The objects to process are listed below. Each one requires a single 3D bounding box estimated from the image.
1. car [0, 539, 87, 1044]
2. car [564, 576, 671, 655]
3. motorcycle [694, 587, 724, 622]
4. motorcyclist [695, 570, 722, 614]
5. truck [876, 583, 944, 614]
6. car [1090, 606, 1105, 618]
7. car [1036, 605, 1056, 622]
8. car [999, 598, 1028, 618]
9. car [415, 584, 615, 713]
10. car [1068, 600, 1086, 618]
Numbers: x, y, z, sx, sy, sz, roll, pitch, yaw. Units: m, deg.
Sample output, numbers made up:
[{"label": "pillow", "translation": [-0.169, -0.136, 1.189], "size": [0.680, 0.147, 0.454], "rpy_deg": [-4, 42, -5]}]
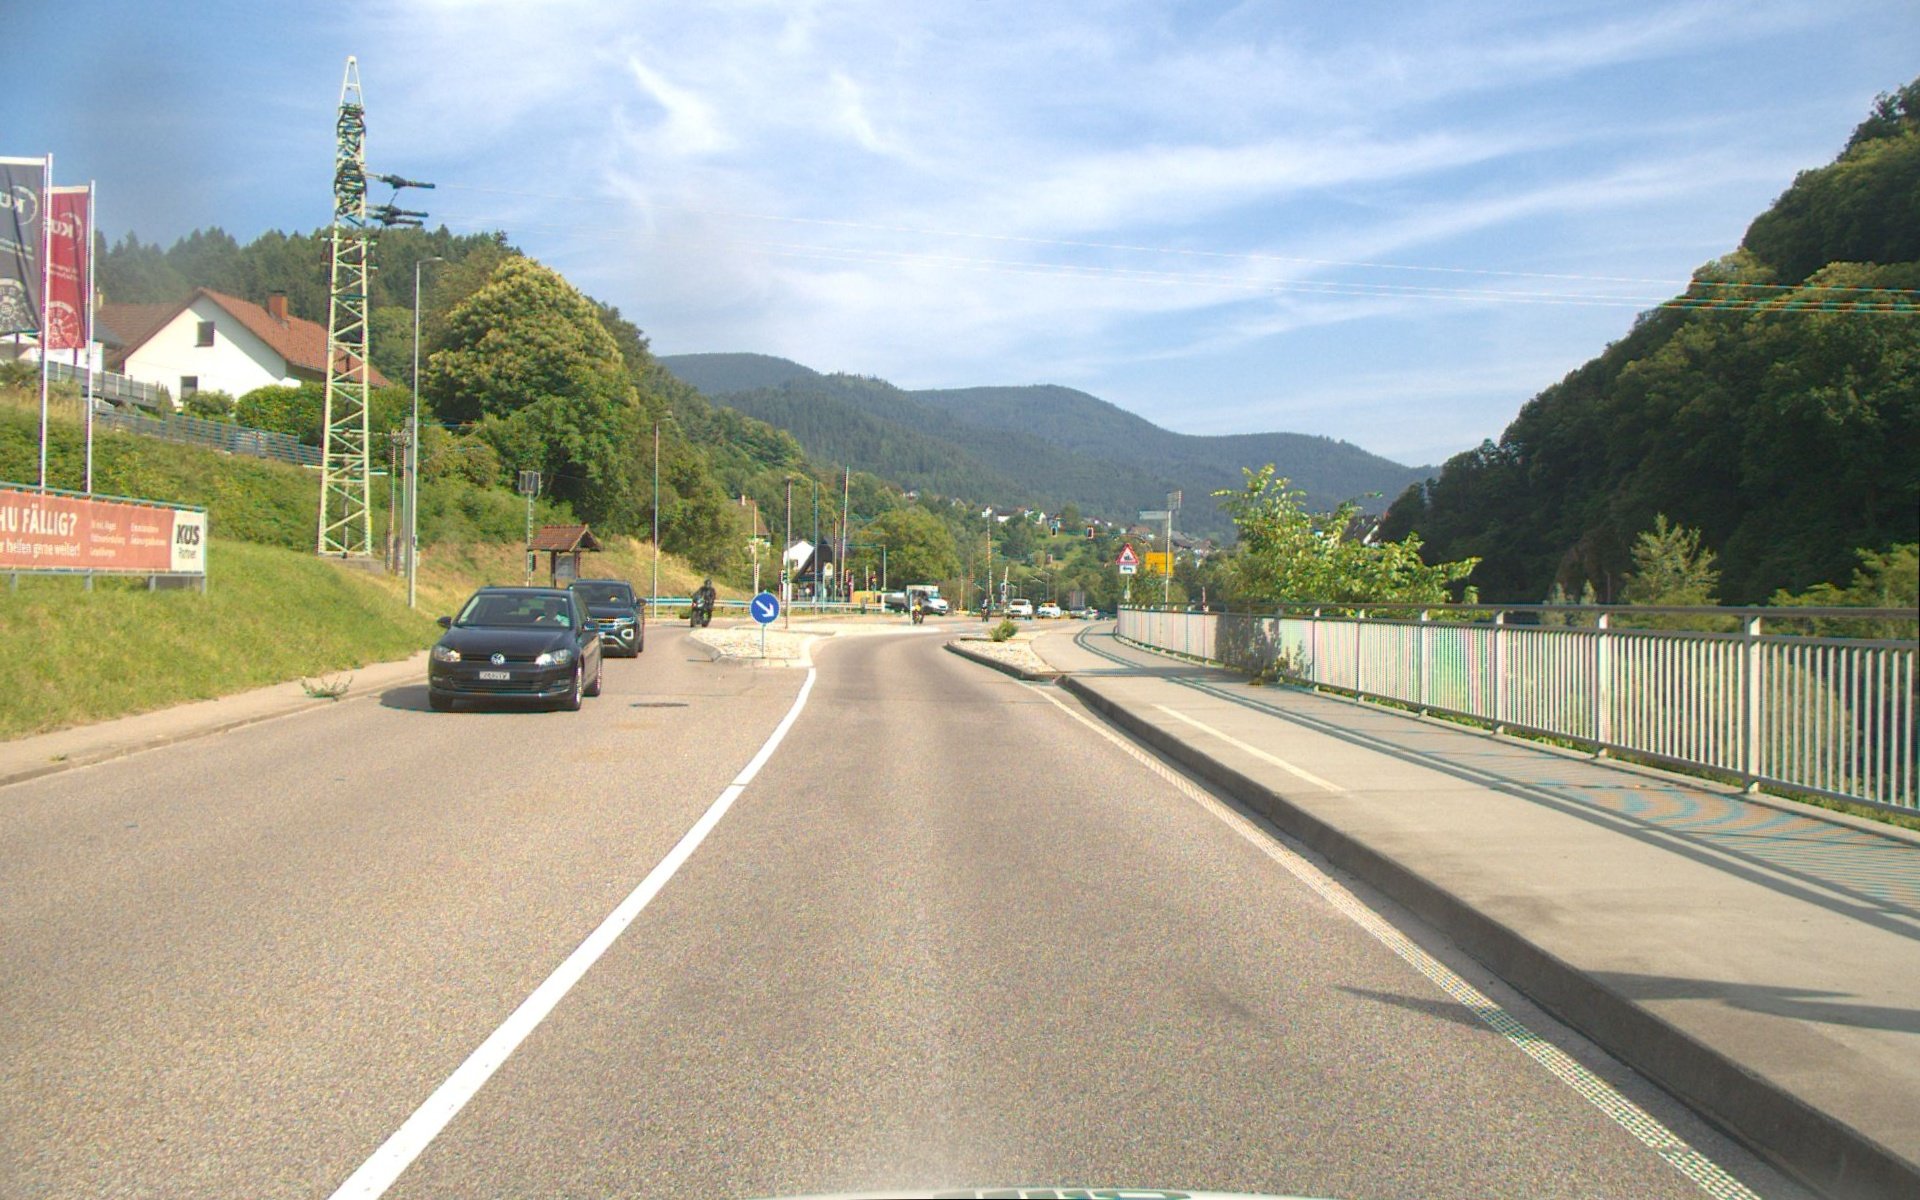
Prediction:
[{"label": "car", "translation": [-3.795, 0.634, 3.738], "size": [1.672, 1.611, 4.155], "rpy_deg": [-1, 0, -4]}, {"label": "car", "translation": [-7.080, 0.282, 34.552], "size": [1.741, 1.543, 4.267], "rpy_deg": [1, 1, -6]}, {"label": "motorcycle", "translation": [-9.027, 0.149, 59.403], "size": [0.879, 1.204, 2.298], "rpy_deg": [1, 1, -13]}, {"label": "motorcyclist", "translation": [-9.030, -0.299, 59.448], "size": [0.890, 1.545, 0.844], "rpy_deg": [1, 1, -13]}, {"label": "truck", "translation": [-4.217, -0.120, 137.376], "size": [5.900, 2.305, 1.987], "rpy_deg": [4, 1, 43]}, {"label": "car", "translation": [18.229, 1.582, 219.553], "size": [1.735, 1.441, 3.788], "rpy_deg": [-1, 0, 8]}, {"label": "car", "translation": [7.981, 1.252, 153.407], "size": [1.744, 1.424, 4.829], "rpy_deg": [2, 0, 4]}, {"label": "car", "translation": [4.435, 0.668, 136.732], "size": [1.726, 1.588, 4.003], "rpy_deg": [1, -1, 13]}, {"label": "car", "translation": [-5.454, 0.535, 20.773], "size": [1.741, 1.432, 4.267], "rpy_deg": [1, 1, -6]}, {"label": "car", "translation": [13.231, 1.009, 186.805], "size": [1.721, 1.548, 4.206], "rpy_deg": [1, -6, 9]}]
